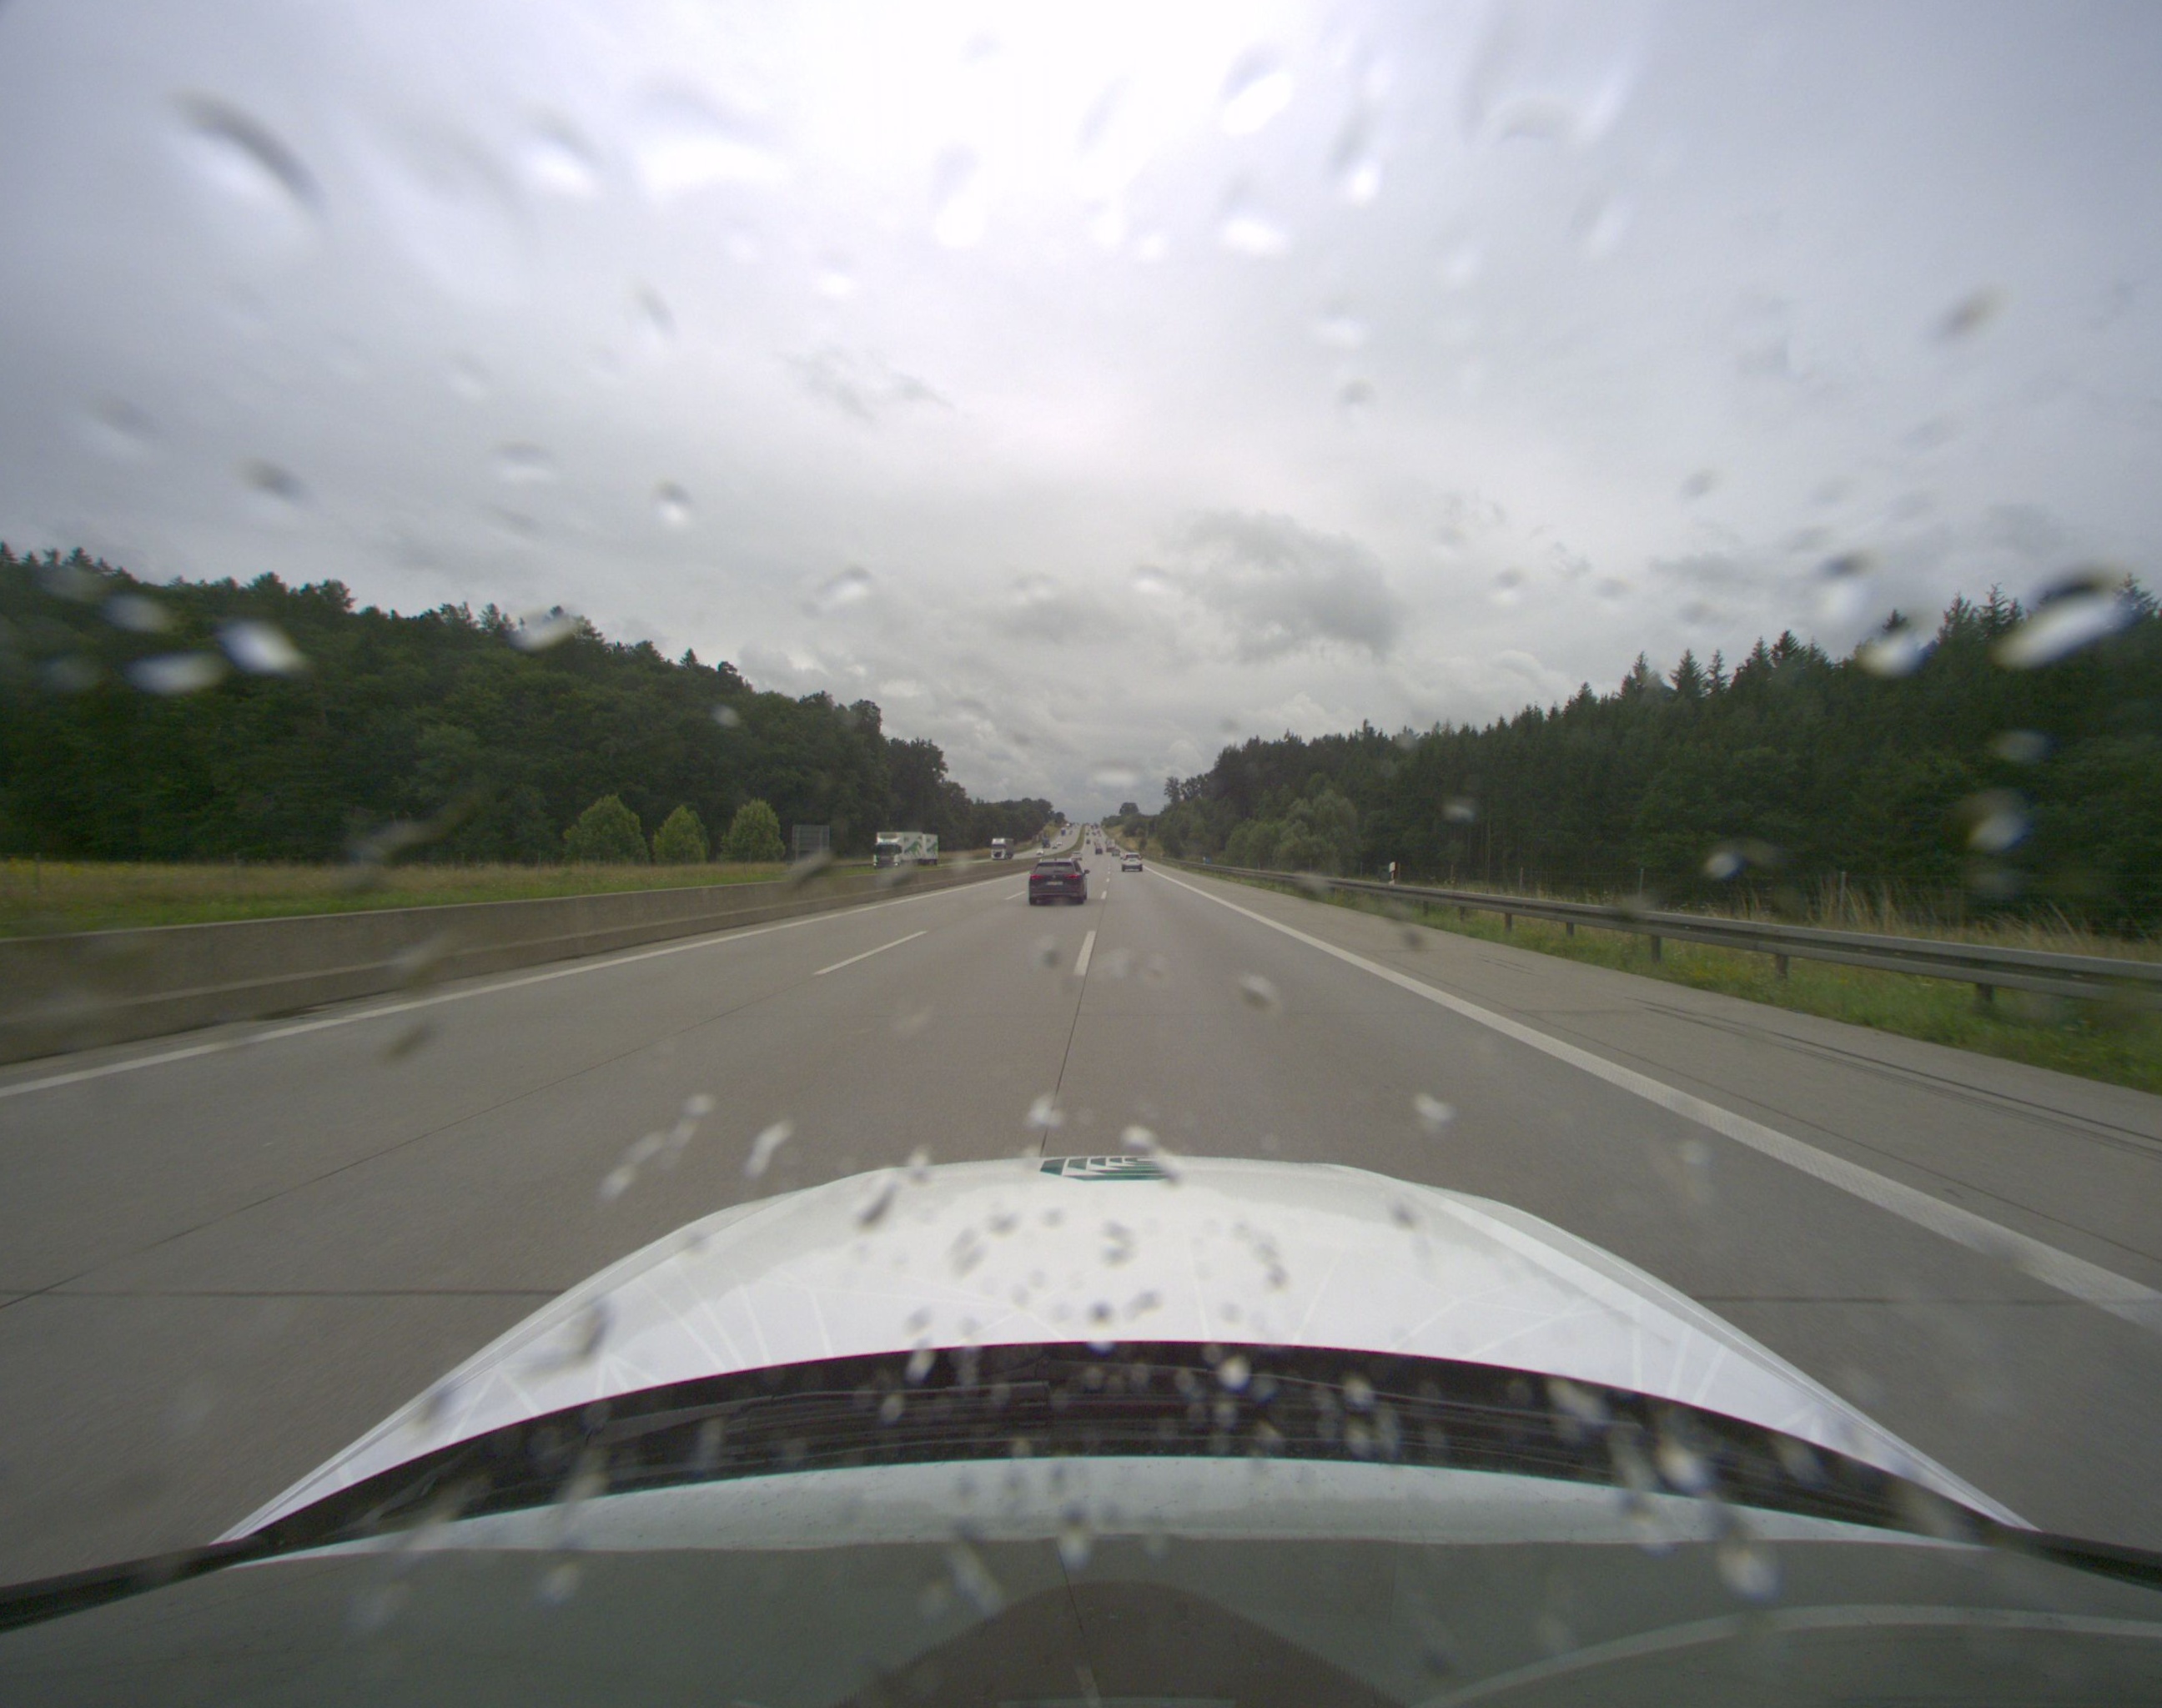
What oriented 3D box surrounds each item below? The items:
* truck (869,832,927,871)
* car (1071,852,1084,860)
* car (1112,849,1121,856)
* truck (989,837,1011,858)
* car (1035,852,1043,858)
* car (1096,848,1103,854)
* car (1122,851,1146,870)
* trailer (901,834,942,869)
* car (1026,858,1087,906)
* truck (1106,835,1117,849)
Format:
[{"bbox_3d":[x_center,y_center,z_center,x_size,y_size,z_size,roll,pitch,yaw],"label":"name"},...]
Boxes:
[{"bbox_3d":[-18.461,-0.248,82.975,2.802,3.772,11.358,0,0,3],"label":"truck"},{"bbox_3d":[-0.547,0.412,142.426,1.939,1.356,4.263,-1,0,3],"label":"car"},{"bbox_3d":[7.891,-0.432,182.497,1.986,1.530,4.002,1,0,2],"label":"car"},{"bbox_3d":[-15.539,-1.238,156.686,3.201,4.057,7.168,0,0,1],"label":"truck"},{"bbox_3d":[-10.878,0.225,209.249,1.777,1.468,4.373,-1,1,1],"label":"car"},{"bbox_3d":[4.727,-0.816,207.439,1.928,1.375,4.596,0,1,2],"label":"car"},{"bbox_3d":[4.693,0.530,73.021,1.820,1.655,3.984,-1,0,-1],"label":"car"},{"bbox_3d":[-18.032,-0.304,92.498,2.807,3.782,7.721,0,0,2],"label":"trailer"},{"bbox_3d":[-0.726,0.860,26.917,1.746,1.398,4.485,0,0,1],"label":"car"},{"bbox_3d":[8.856,-3.577,240.005,3.007,4.179,8.355,-1,2,0],"label":"truck"}]
